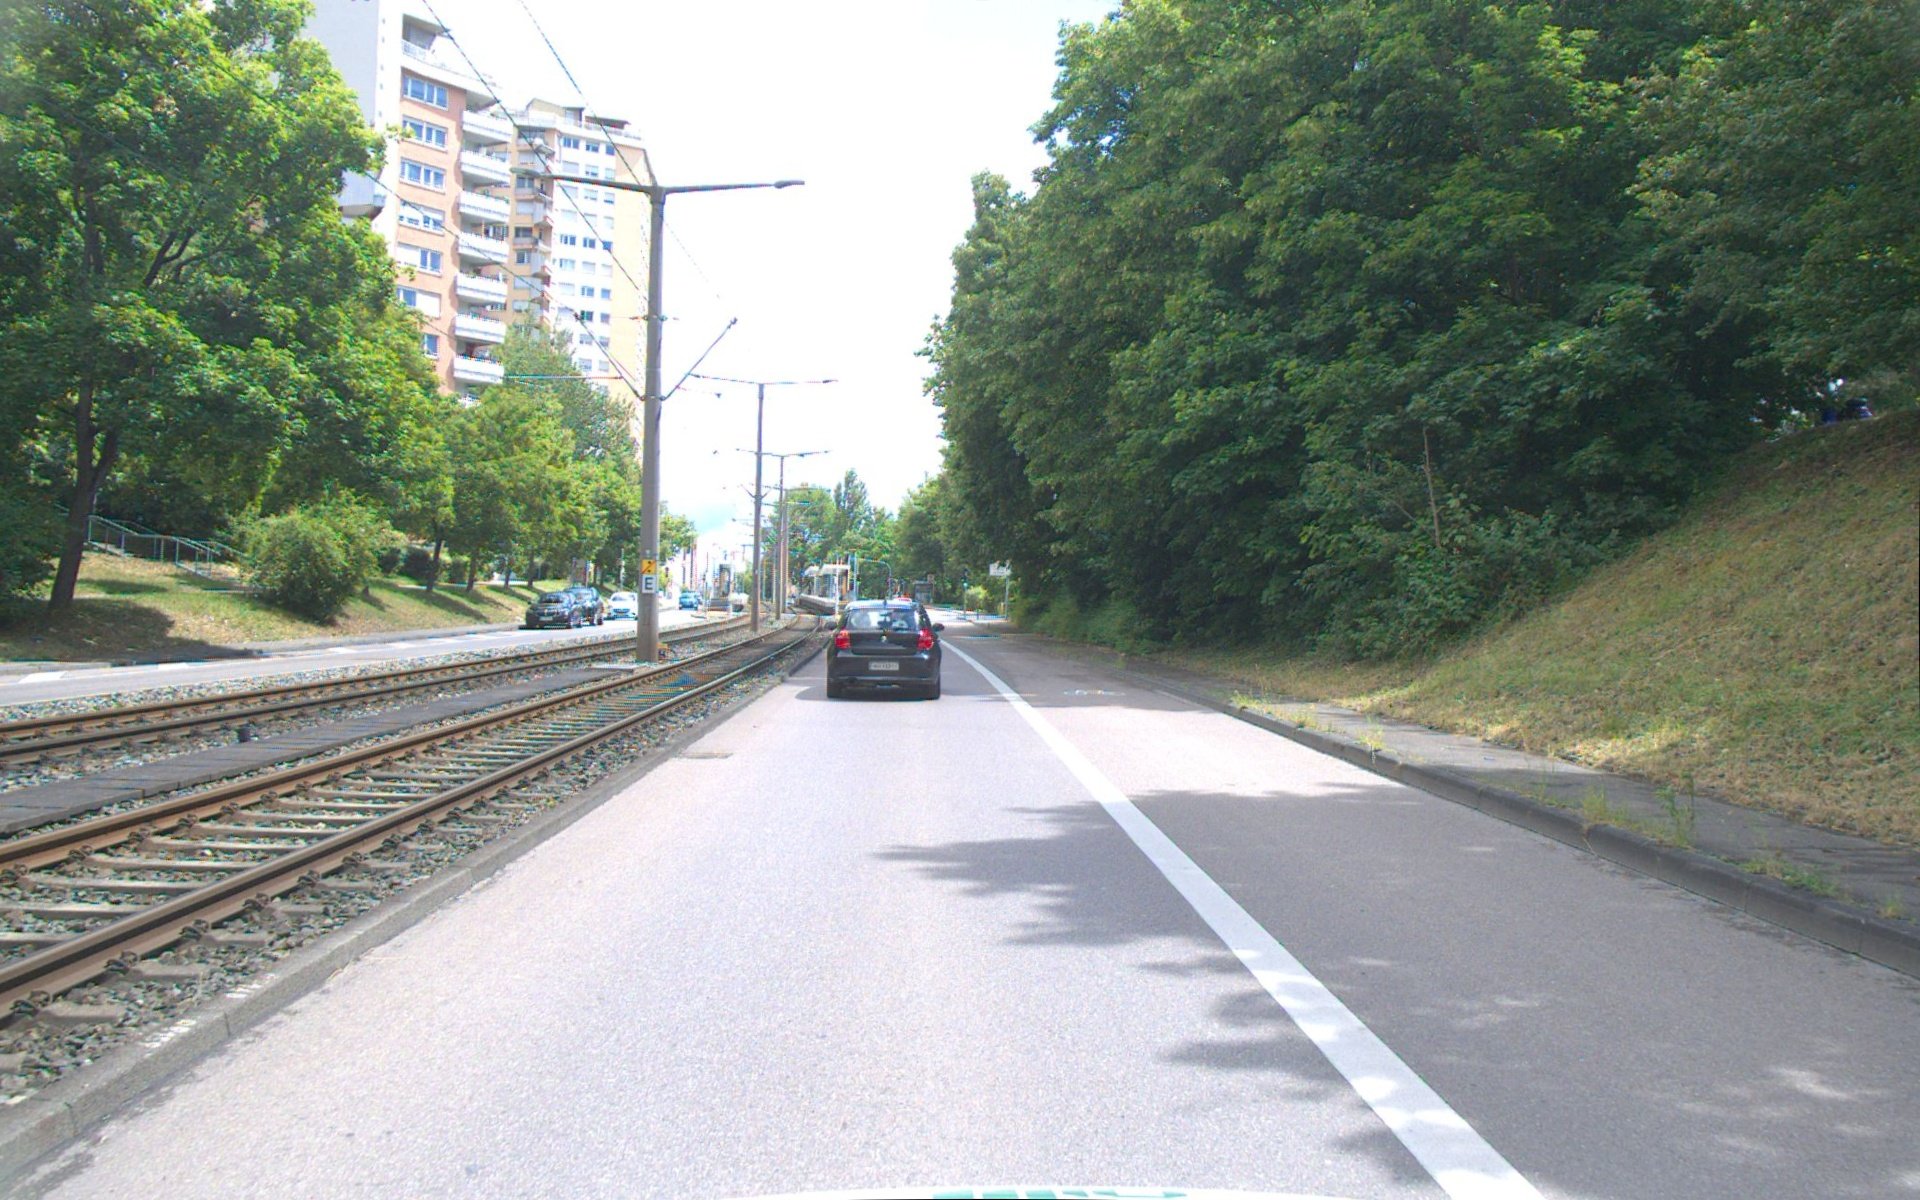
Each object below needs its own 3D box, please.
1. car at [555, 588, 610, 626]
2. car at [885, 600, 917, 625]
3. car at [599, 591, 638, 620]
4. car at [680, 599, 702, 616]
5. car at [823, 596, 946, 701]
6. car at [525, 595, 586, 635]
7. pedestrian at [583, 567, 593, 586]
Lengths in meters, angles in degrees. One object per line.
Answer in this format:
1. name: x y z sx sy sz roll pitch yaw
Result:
1. car: -16.575 0.324 72.777 1.739 1.658 4.378 0 -1 -4
2. car: -3.650 0.747 101.685 1.747 1.485 3.916 1 0 -6
3. car: -18.527 0.279 89.815 1.748 1.559 4.237 0 0 -8
4. car: -24.030 0.663 147.905 1.686 1.467 3.930 1 0 -13
5. car: -1.200 0.679 25.456 1.746 1.485 3.918 0 0 -4
6. car: -16.095 0.583 65.984 1.739 1.525 3.993 1 0 -4
7. pedestrian: -31.160 -1.967 138.554 0.620 1.561 0.635 0 0 15
